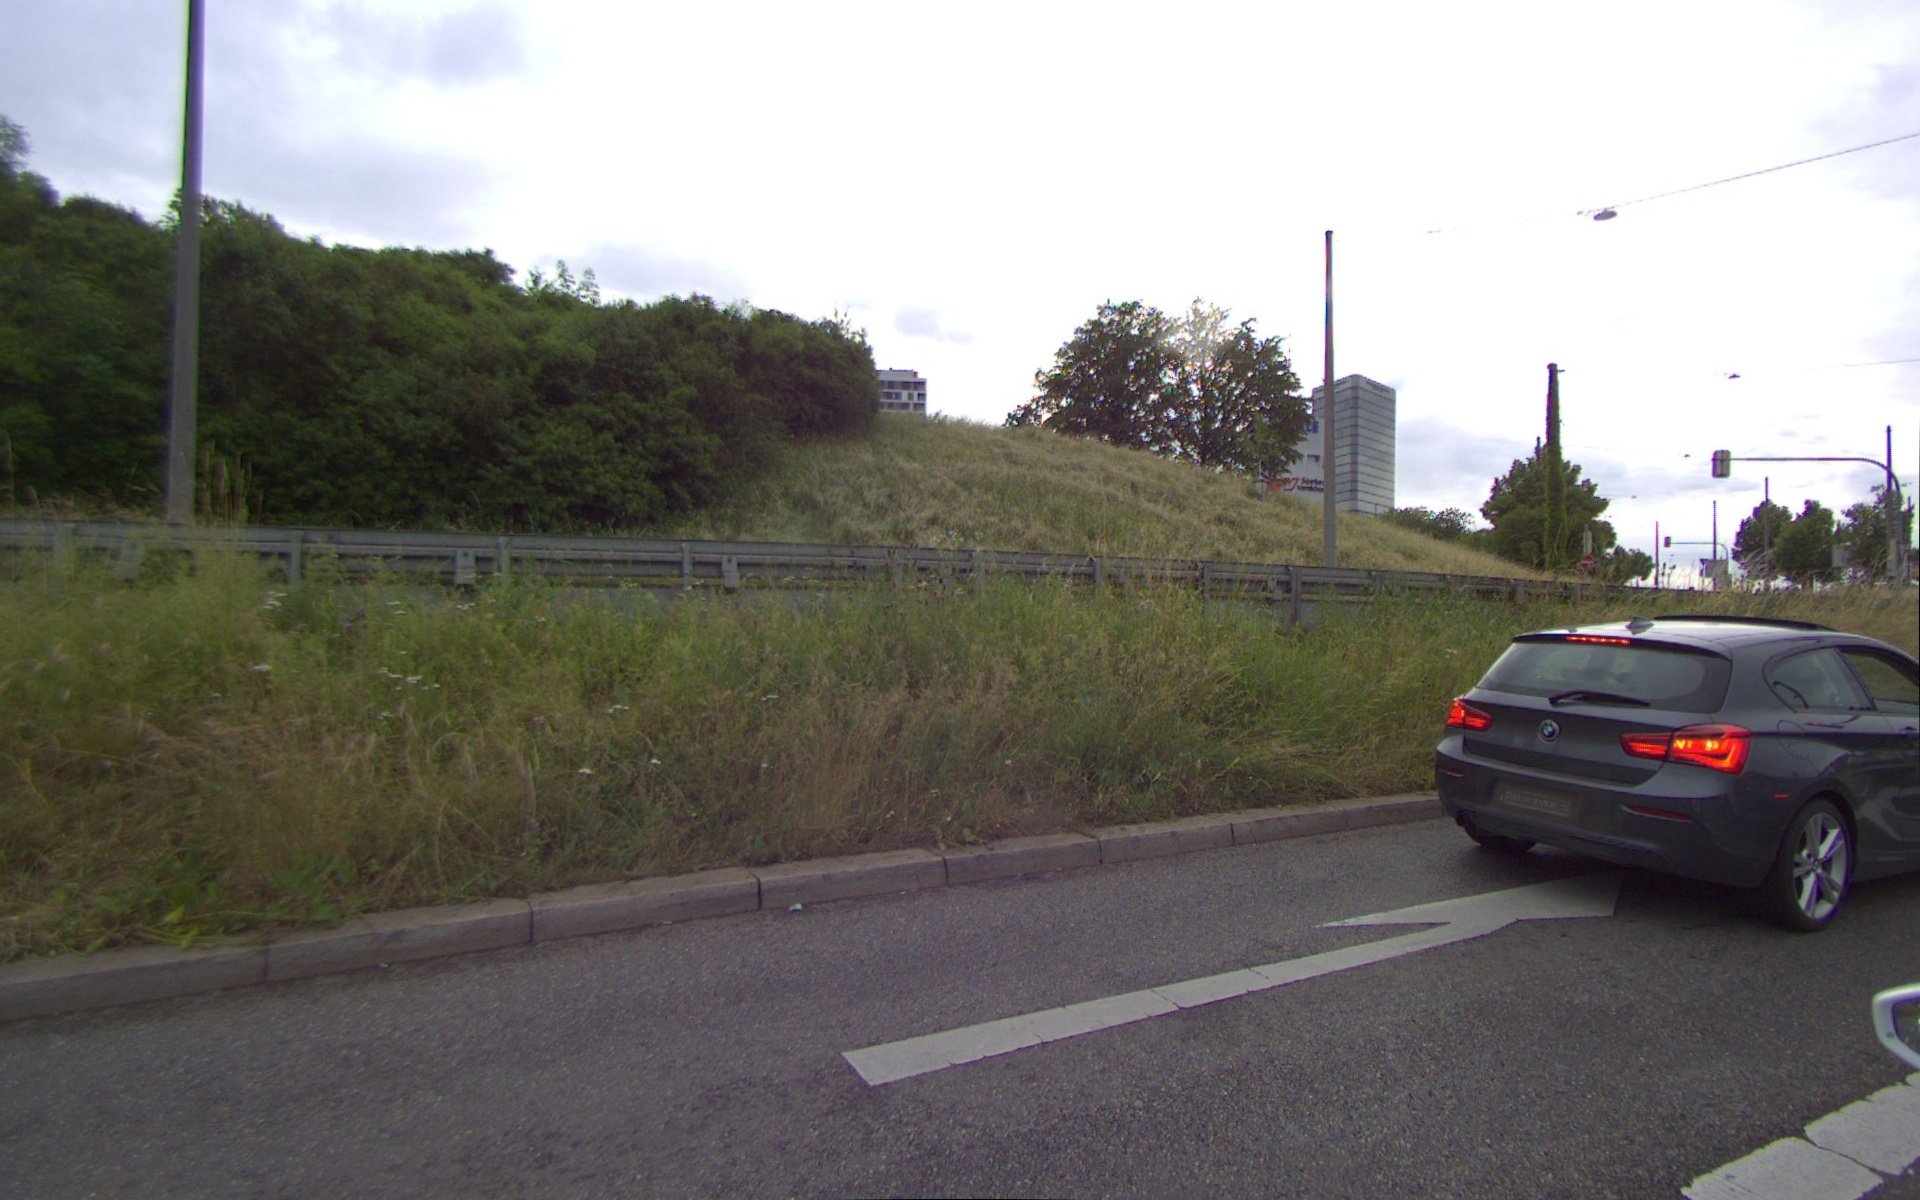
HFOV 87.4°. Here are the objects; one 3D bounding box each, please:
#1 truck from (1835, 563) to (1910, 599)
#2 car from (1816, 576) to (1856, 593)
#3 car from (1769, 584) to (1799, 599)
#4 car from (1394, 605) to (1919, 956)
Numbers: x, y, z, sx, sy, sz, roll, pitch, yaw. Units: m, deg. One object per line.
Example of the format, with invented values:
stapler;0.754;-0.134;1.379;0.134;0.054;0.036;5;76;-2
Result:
truck;85.275;-1.826;93.982;3.206;3.116;6.171;4;3;24
car;94.864;-1.663;108.820;1.962;1.682;4.540;2;1;25
car;104.668;-1.038;127.576;1.963;1.681;4.539;2;0;27
car;4.700;0.840;5.961;4.061;1.479;1.696;2;-1;-27
